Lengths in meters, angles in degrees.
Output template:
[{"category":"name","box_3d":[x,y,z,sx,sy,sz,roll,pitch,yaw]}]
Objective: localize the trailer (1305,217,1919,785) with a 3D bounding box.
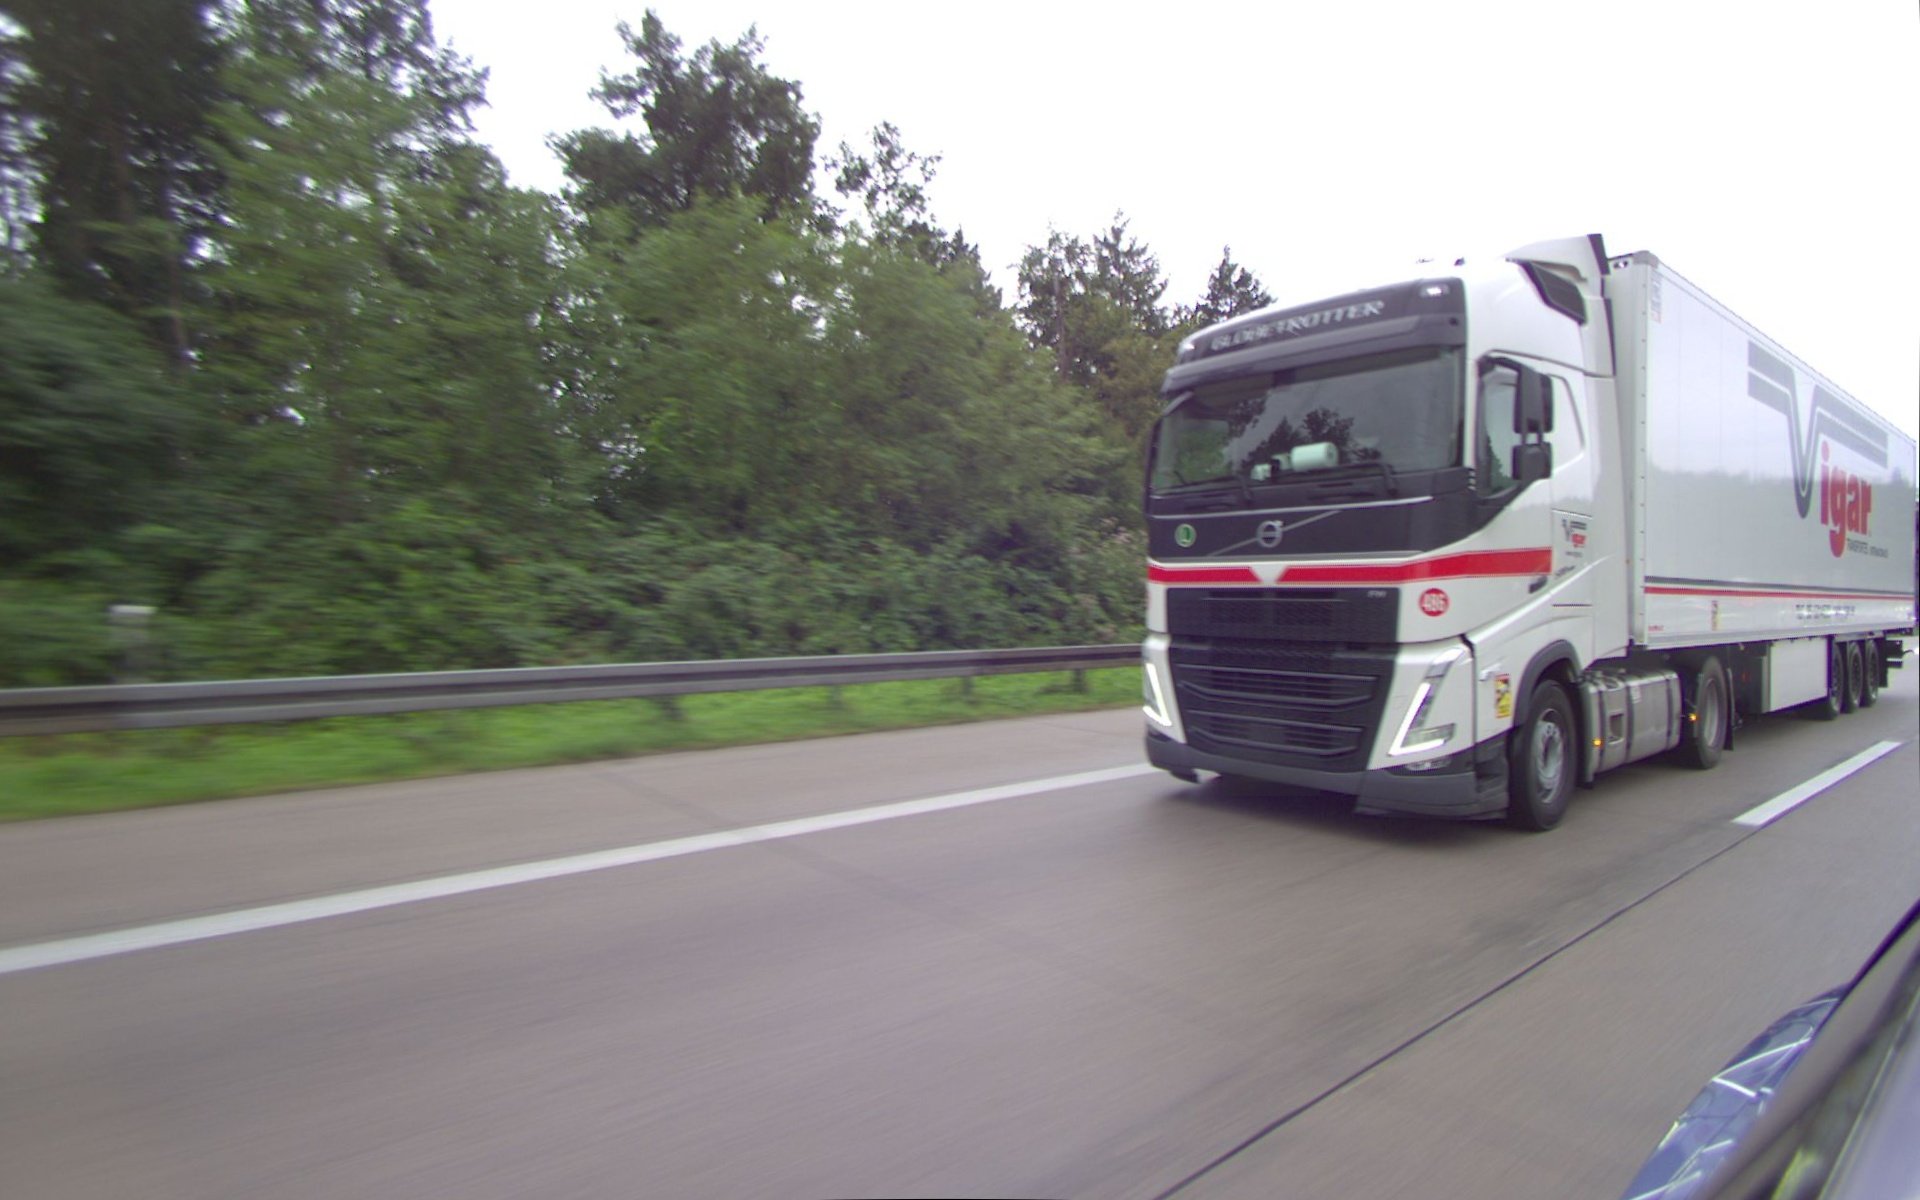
[{"category":"trailer","box_3d":[9.307,-0.733,12.723,13.435,4.156,2.740,0,0,-39]}]

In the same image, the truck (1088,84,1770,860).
[{"category":"truck","box_3d":[4.115,-0.698,8.357,5.859,4.156,2.805,0,0,-39]}]
